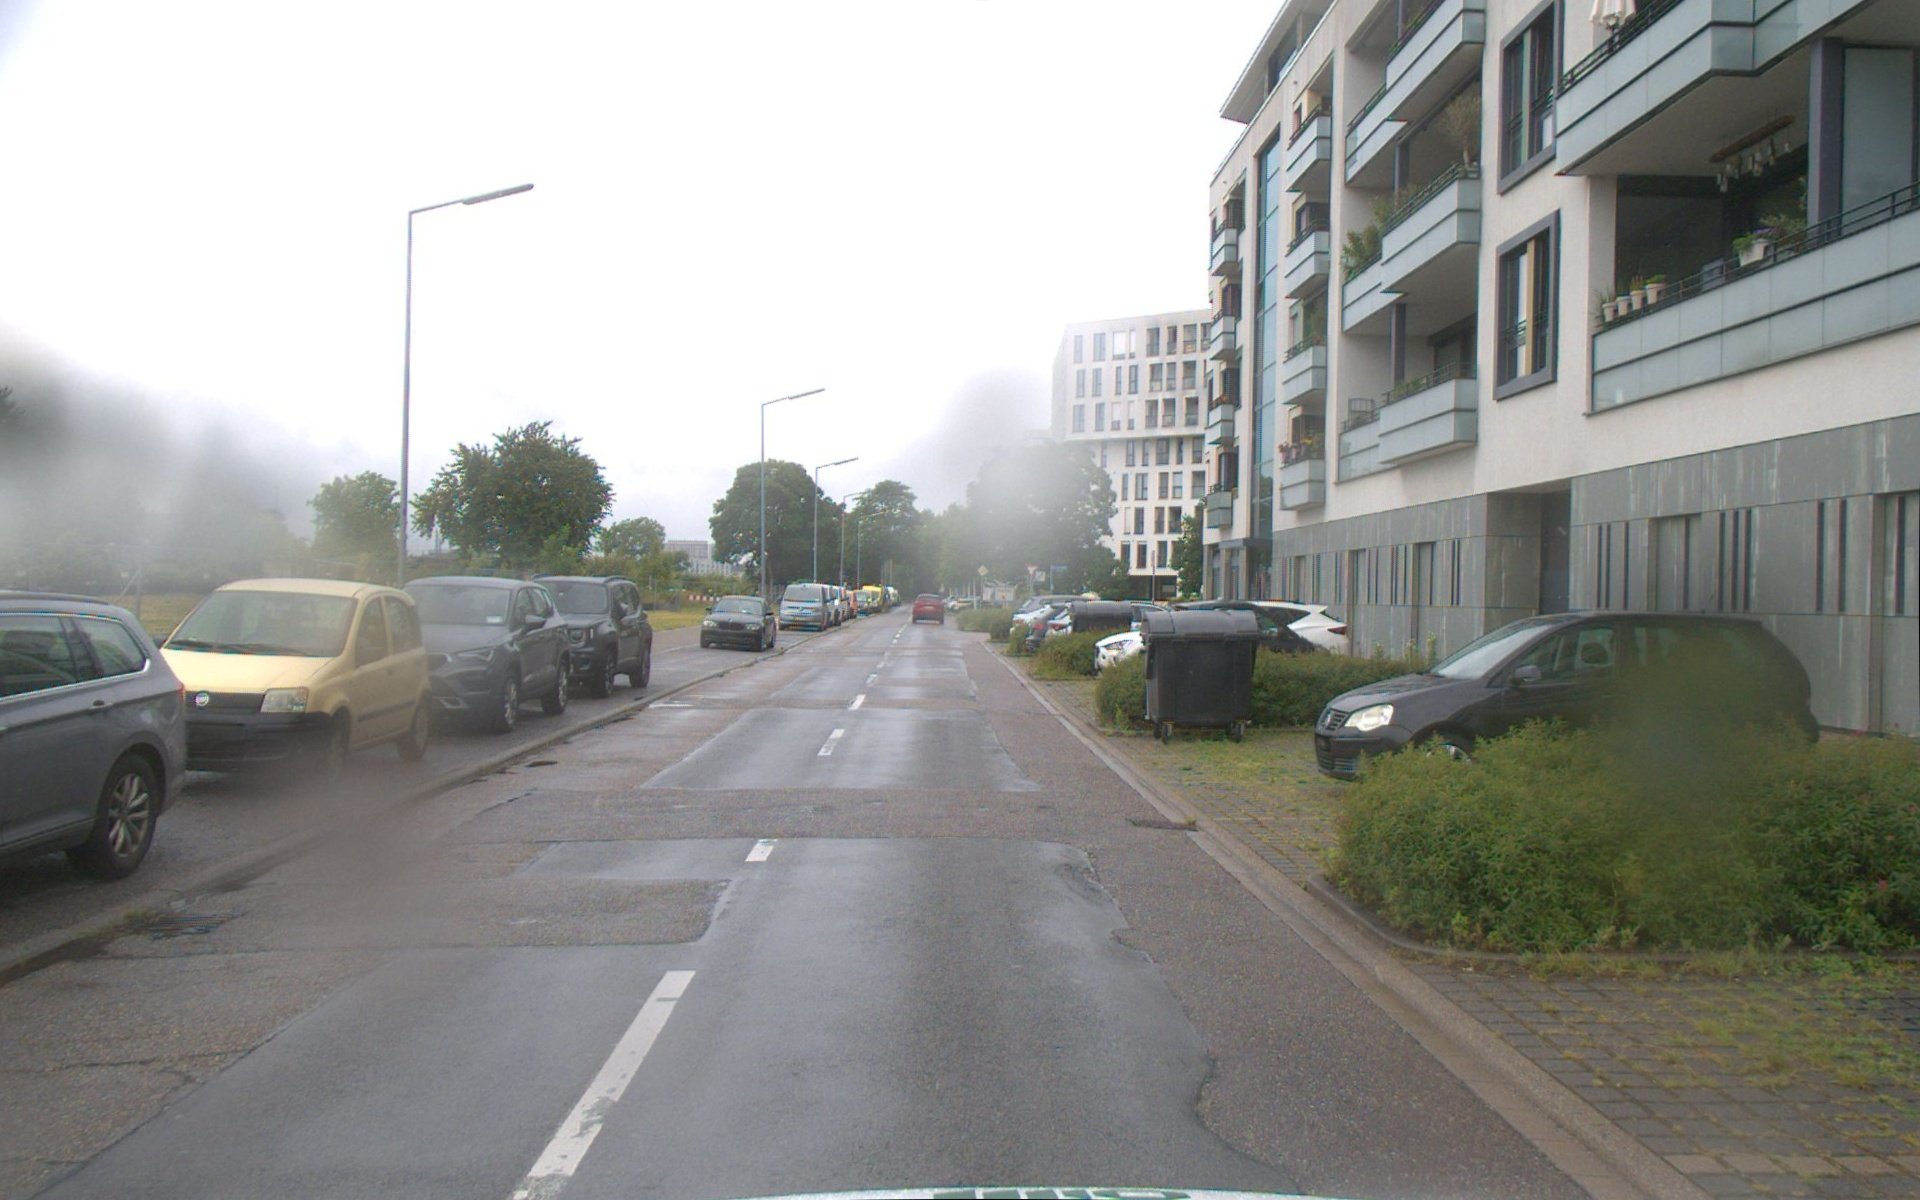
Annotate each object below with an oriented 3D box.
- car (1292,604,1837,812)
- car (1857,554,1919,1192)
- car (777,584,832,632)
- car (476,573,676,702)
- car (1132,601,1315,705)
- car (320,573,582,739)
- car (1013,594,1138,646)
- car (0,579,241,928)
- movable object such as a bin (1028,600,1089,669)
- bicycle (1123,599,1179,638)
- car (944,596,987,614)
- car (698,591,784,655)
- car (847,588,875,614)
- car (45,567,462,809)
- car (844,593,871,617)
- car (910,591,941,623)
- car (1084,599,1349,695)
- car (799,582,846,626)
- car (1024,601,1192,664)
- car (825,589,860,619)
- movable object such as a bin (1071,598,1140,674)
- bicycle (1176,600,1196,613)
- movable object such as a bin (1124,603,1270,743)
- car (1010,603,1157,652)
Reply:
[{"bbox_3d":[4.741,0.814,13.360,3.767,1.517,1.762,0,0,-1],"label":"car"},{"bbox_3d":[4.603,0.738,3.880,4.123,1.673,1.686,1,-1,-2],"label":"car"},{"bbox_3d":[-6.597,0.331,70.567,1.916,1.935,4.993,2,0,-1],"label":"car"},{"bbox_3d":[-5.684,0.500,25.109,1.716,1.722,4.882,2,0,2],"label":"car"},{"bbox_3d":[4.081,0.800,25.780,2.574,1.533,1.205,-1,0,-8],"label":"car"},{"bbox_3d":[-5.593,0.552,18.723,1.717,1.618,4.132,2,0,-1],"label":"car"},{"bbox_3d":[3.876,0.661,55.831,4.007,1.652,1.965,-1,0,-3],"label":"car"},{"bbox_3d":[-5.235,0.664,7.591,1.800,1.555,4.669,3,-1,-1],"label":"car"},{"bbox_3d":[2.255,0.772,38.050,1.274,1.553,1.581,0,0,-1],"label":"movable object such as a bin"},{"bbox_3d":[7.657,0.732,66.189,2.142,1.549,0.631,1,0,19],"label":"bicycle"},{"bbox_3d":[0.569,0.519,179.344,4.450,1.714,1.884,-3,0,-4],"label":"car"},{"bbox_3d":[-6.052,0.608,46.108,1.810,1.588,4.151,4,0,-1],"label":"car"},{"bbox_3d":[-8.140,0.065,136.784,1.976,1.990,6.063,3,0,-2],"label":"car"},{"bbox_3d":[-5.456,0.619,13.417,1.691,1.602,4.208,2,-1,-3],"label":"car"},{"bbox_3d":[-7.658,0.370,124.095,1.767,1.588,4.032,4,0,-1],"label":"car"},{"bbox_3d":[-1.991,0.397,95.188,1.721,1.735,3.999,1,0,-1],"label":"car"},{"bbox_3d":[4.364,0.789,28.625,4.258,1.557,1.892,-1,0,-2],"label":"car"},{"bbox_3d":[-6.960,0.177,84.292,1.920,2.094,5.273,3,0,-1],"label":"car"},{"bbox_3d":[3.626,0.780,41.076,3.978,1.523,2.057,0,0,-1],"label":"car"},{"bbox_3d":[-7.573,0.259,107.183,1.900,1.798,4.331,2,0,0],"label":"car"},{"bbox_3d":[3.067,0.750,35.072,1.274,1.553,1.581,-1,0,-1],"label":"movable object such as a bin"},{"bbox_3d":[18.854,0.567,137.894,0.711,1.051,2.064,1,0,38],"label":"bicycle"},{"bbox_3d":[2.702,0.818,19.040,1.465,1.519,1.155,-1,0,-1],"label":"movable object such as a bin"},{"bbox_3d":[3.757,0.845,50.929,4.320,1.429,1.910,-1,0,-2],"label":"car"}]
